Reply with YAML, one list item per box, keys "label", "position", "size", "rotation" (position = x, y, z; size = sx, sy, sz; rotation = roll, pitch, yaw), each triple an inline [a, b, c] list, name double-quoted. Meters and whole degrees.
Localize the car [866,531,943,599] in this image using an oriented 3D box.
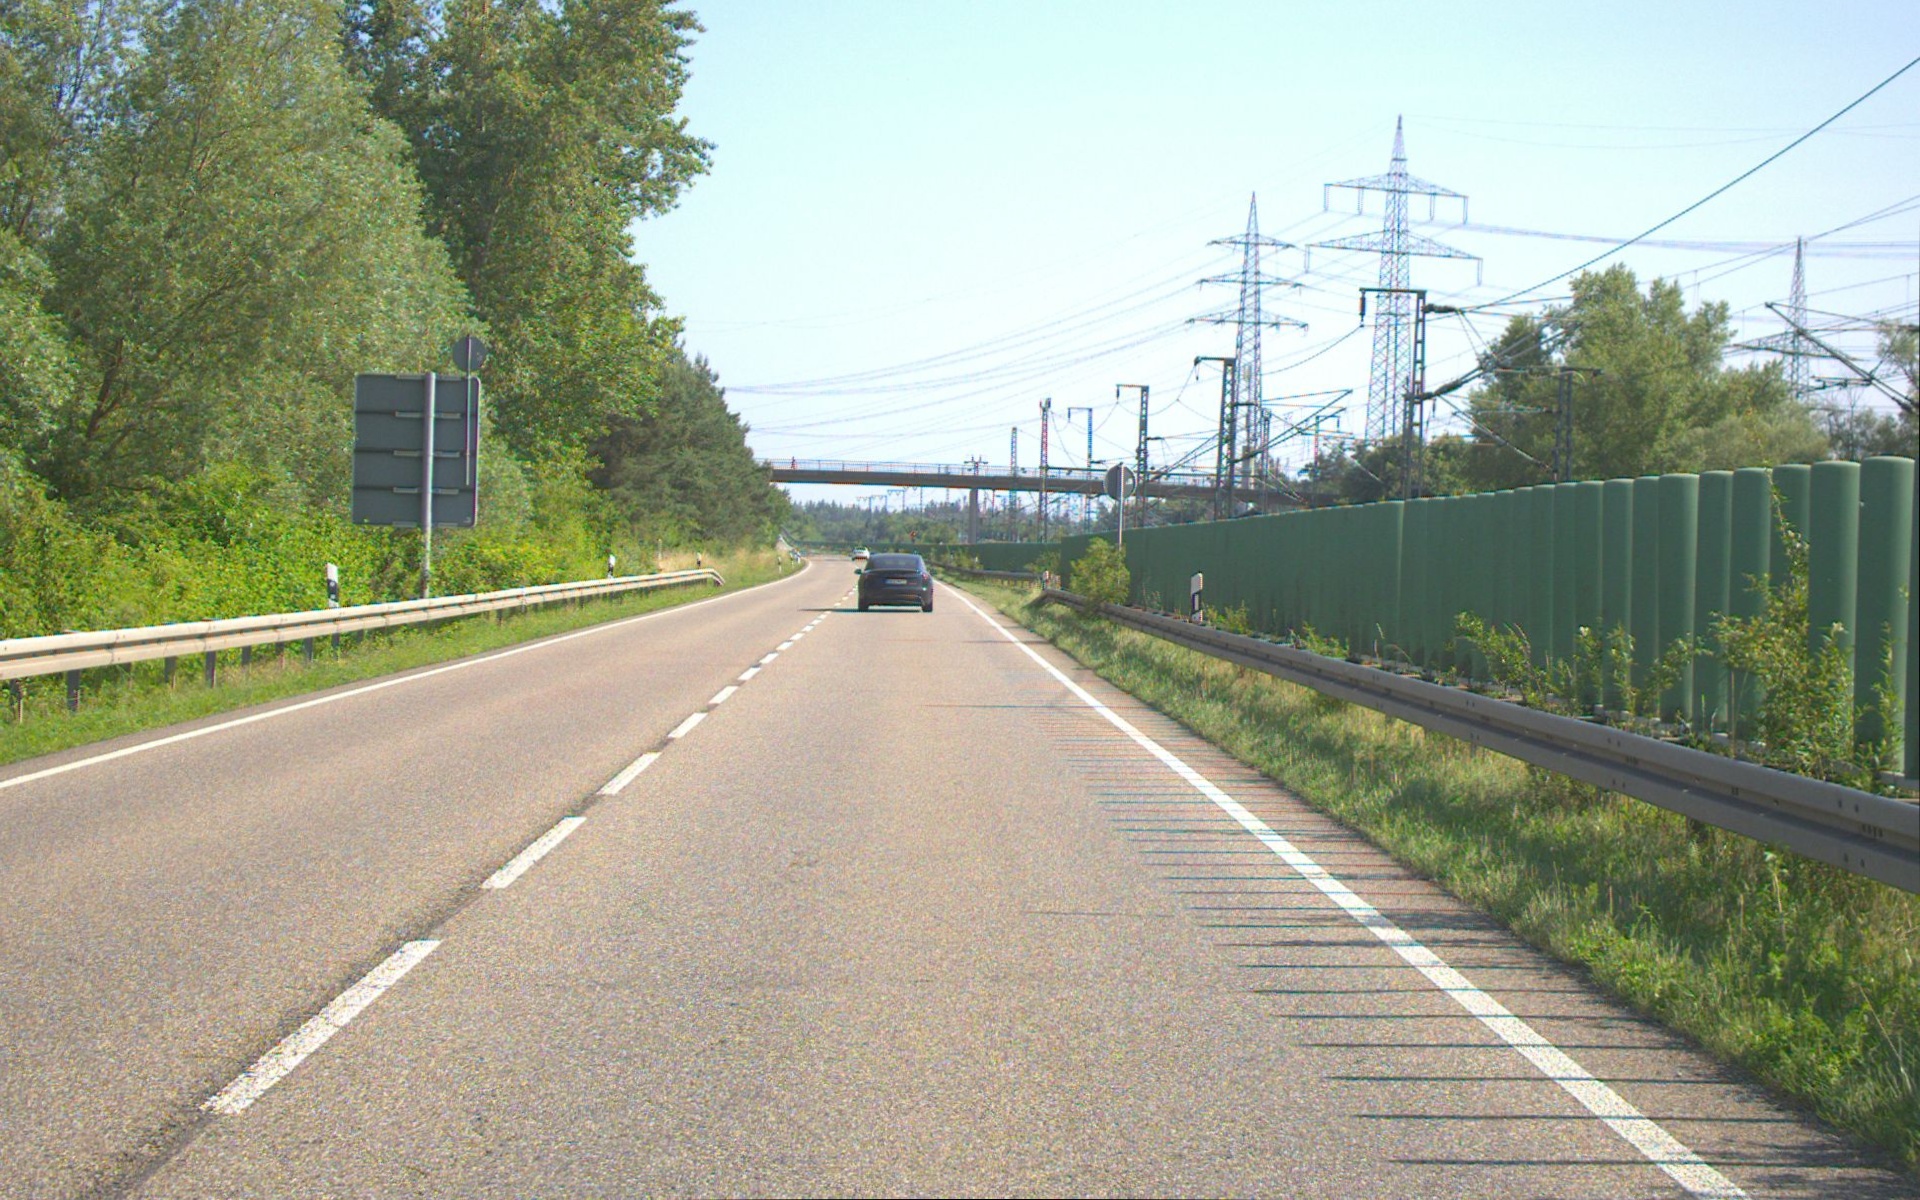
- label: "car"
  position: [-1.403, -0.881, 85.280]
  size: [1.858, 1.636, 4.000]
  rotation: [0, 1, -1]
